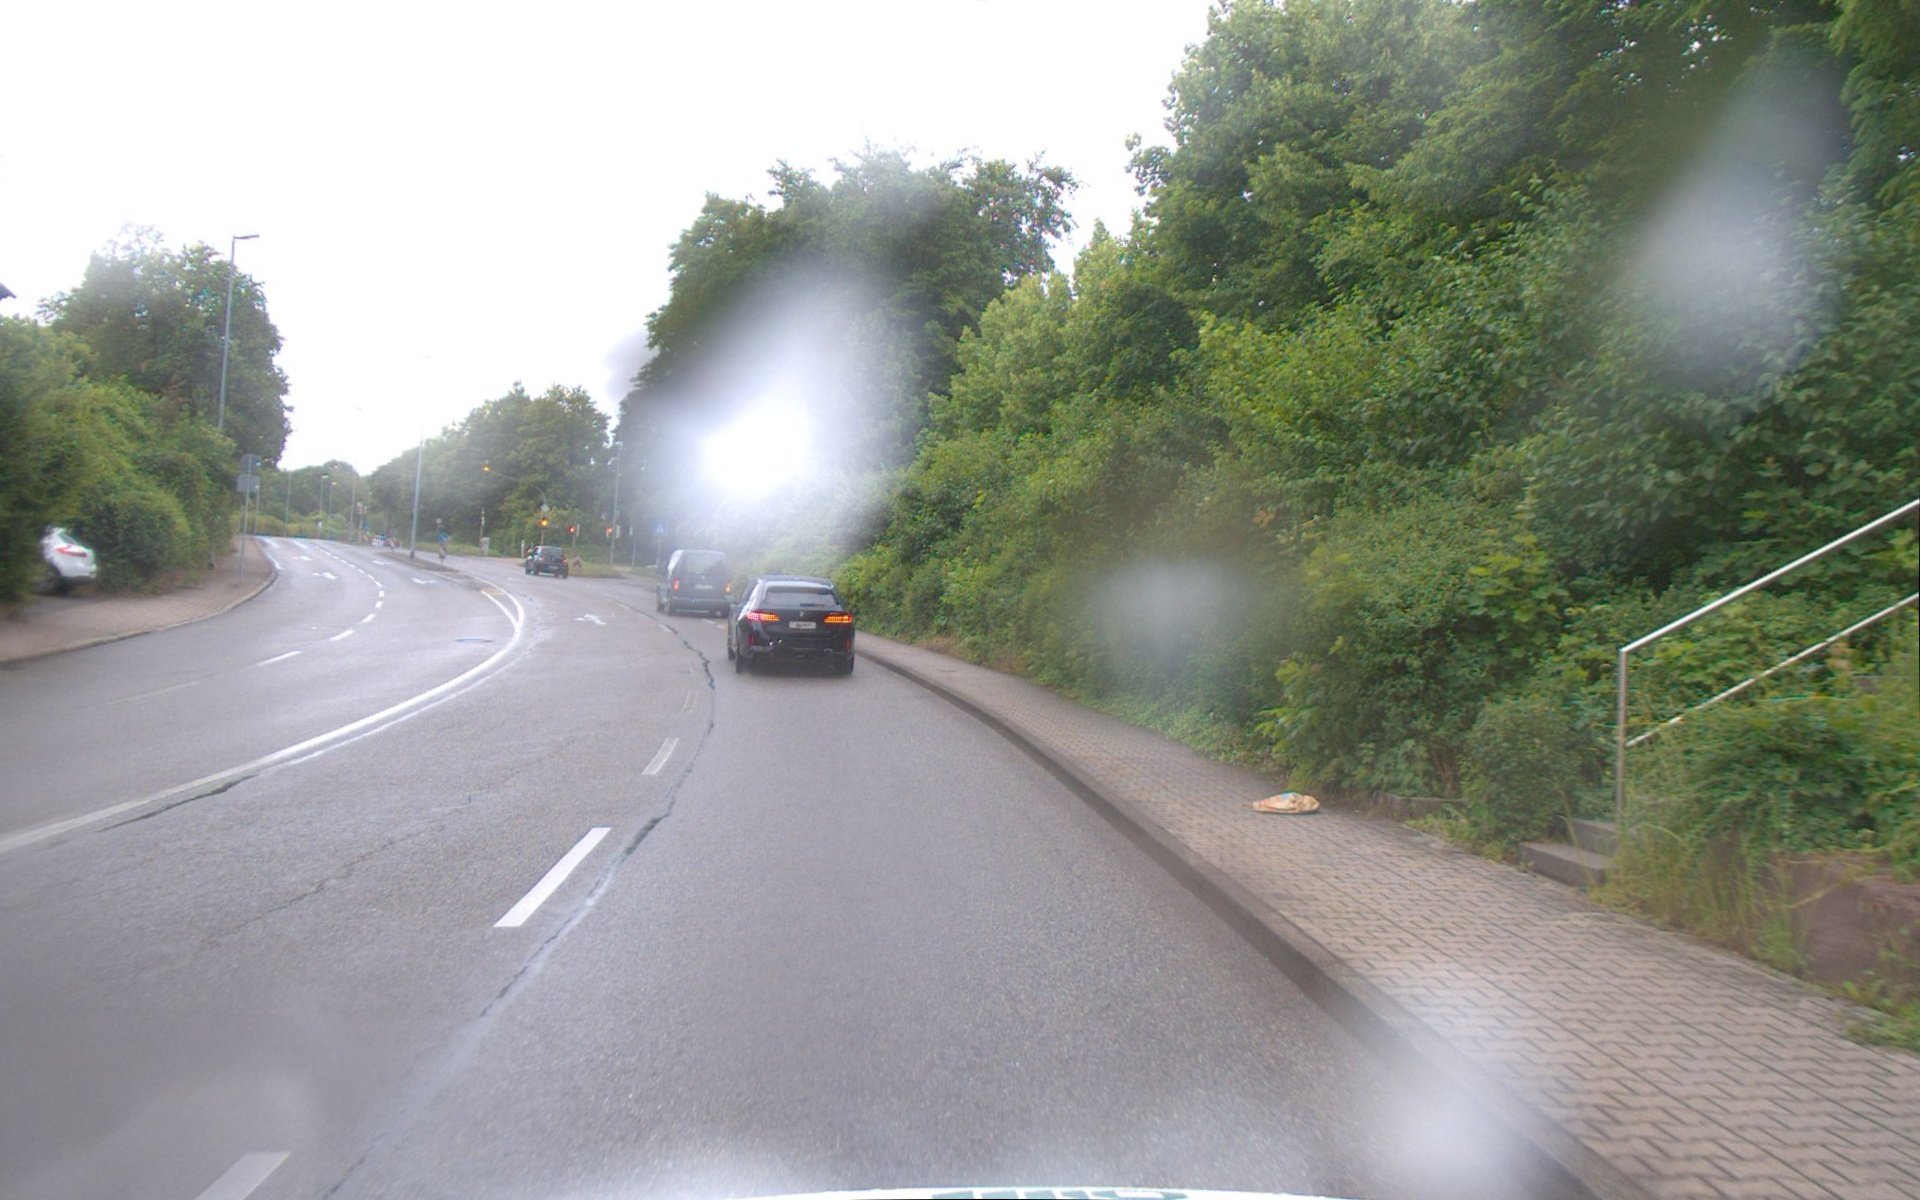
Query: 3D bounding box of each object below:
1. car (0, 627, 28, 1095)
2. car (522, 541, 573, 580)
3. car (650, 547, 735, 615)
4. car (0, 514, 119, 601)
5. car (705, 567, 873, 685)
[{"bbox_3d":[-3.819,0.689,2.642,1.866,1.423,4.855,2,-2,0],"label":"car"},{"bbox_3d":[-20.801,-1.974,83.337,1.826,1.691,3.972,4,-2,-23],"label":"car"},{"bbox_3d":[-7.595,-0.543,46.763,1.960,1.779,3.985,2,1,-15],"label":"car"},{"bbox_3d":[-20.113,-1.045,34.780,3.930,1.471,1.845,9,-2,-20],"label":"car"},{"bbox_3d":[-2.904,0.359,27.176,1.961,1.613,4.645,3,1,-15],"label":"car"}]
